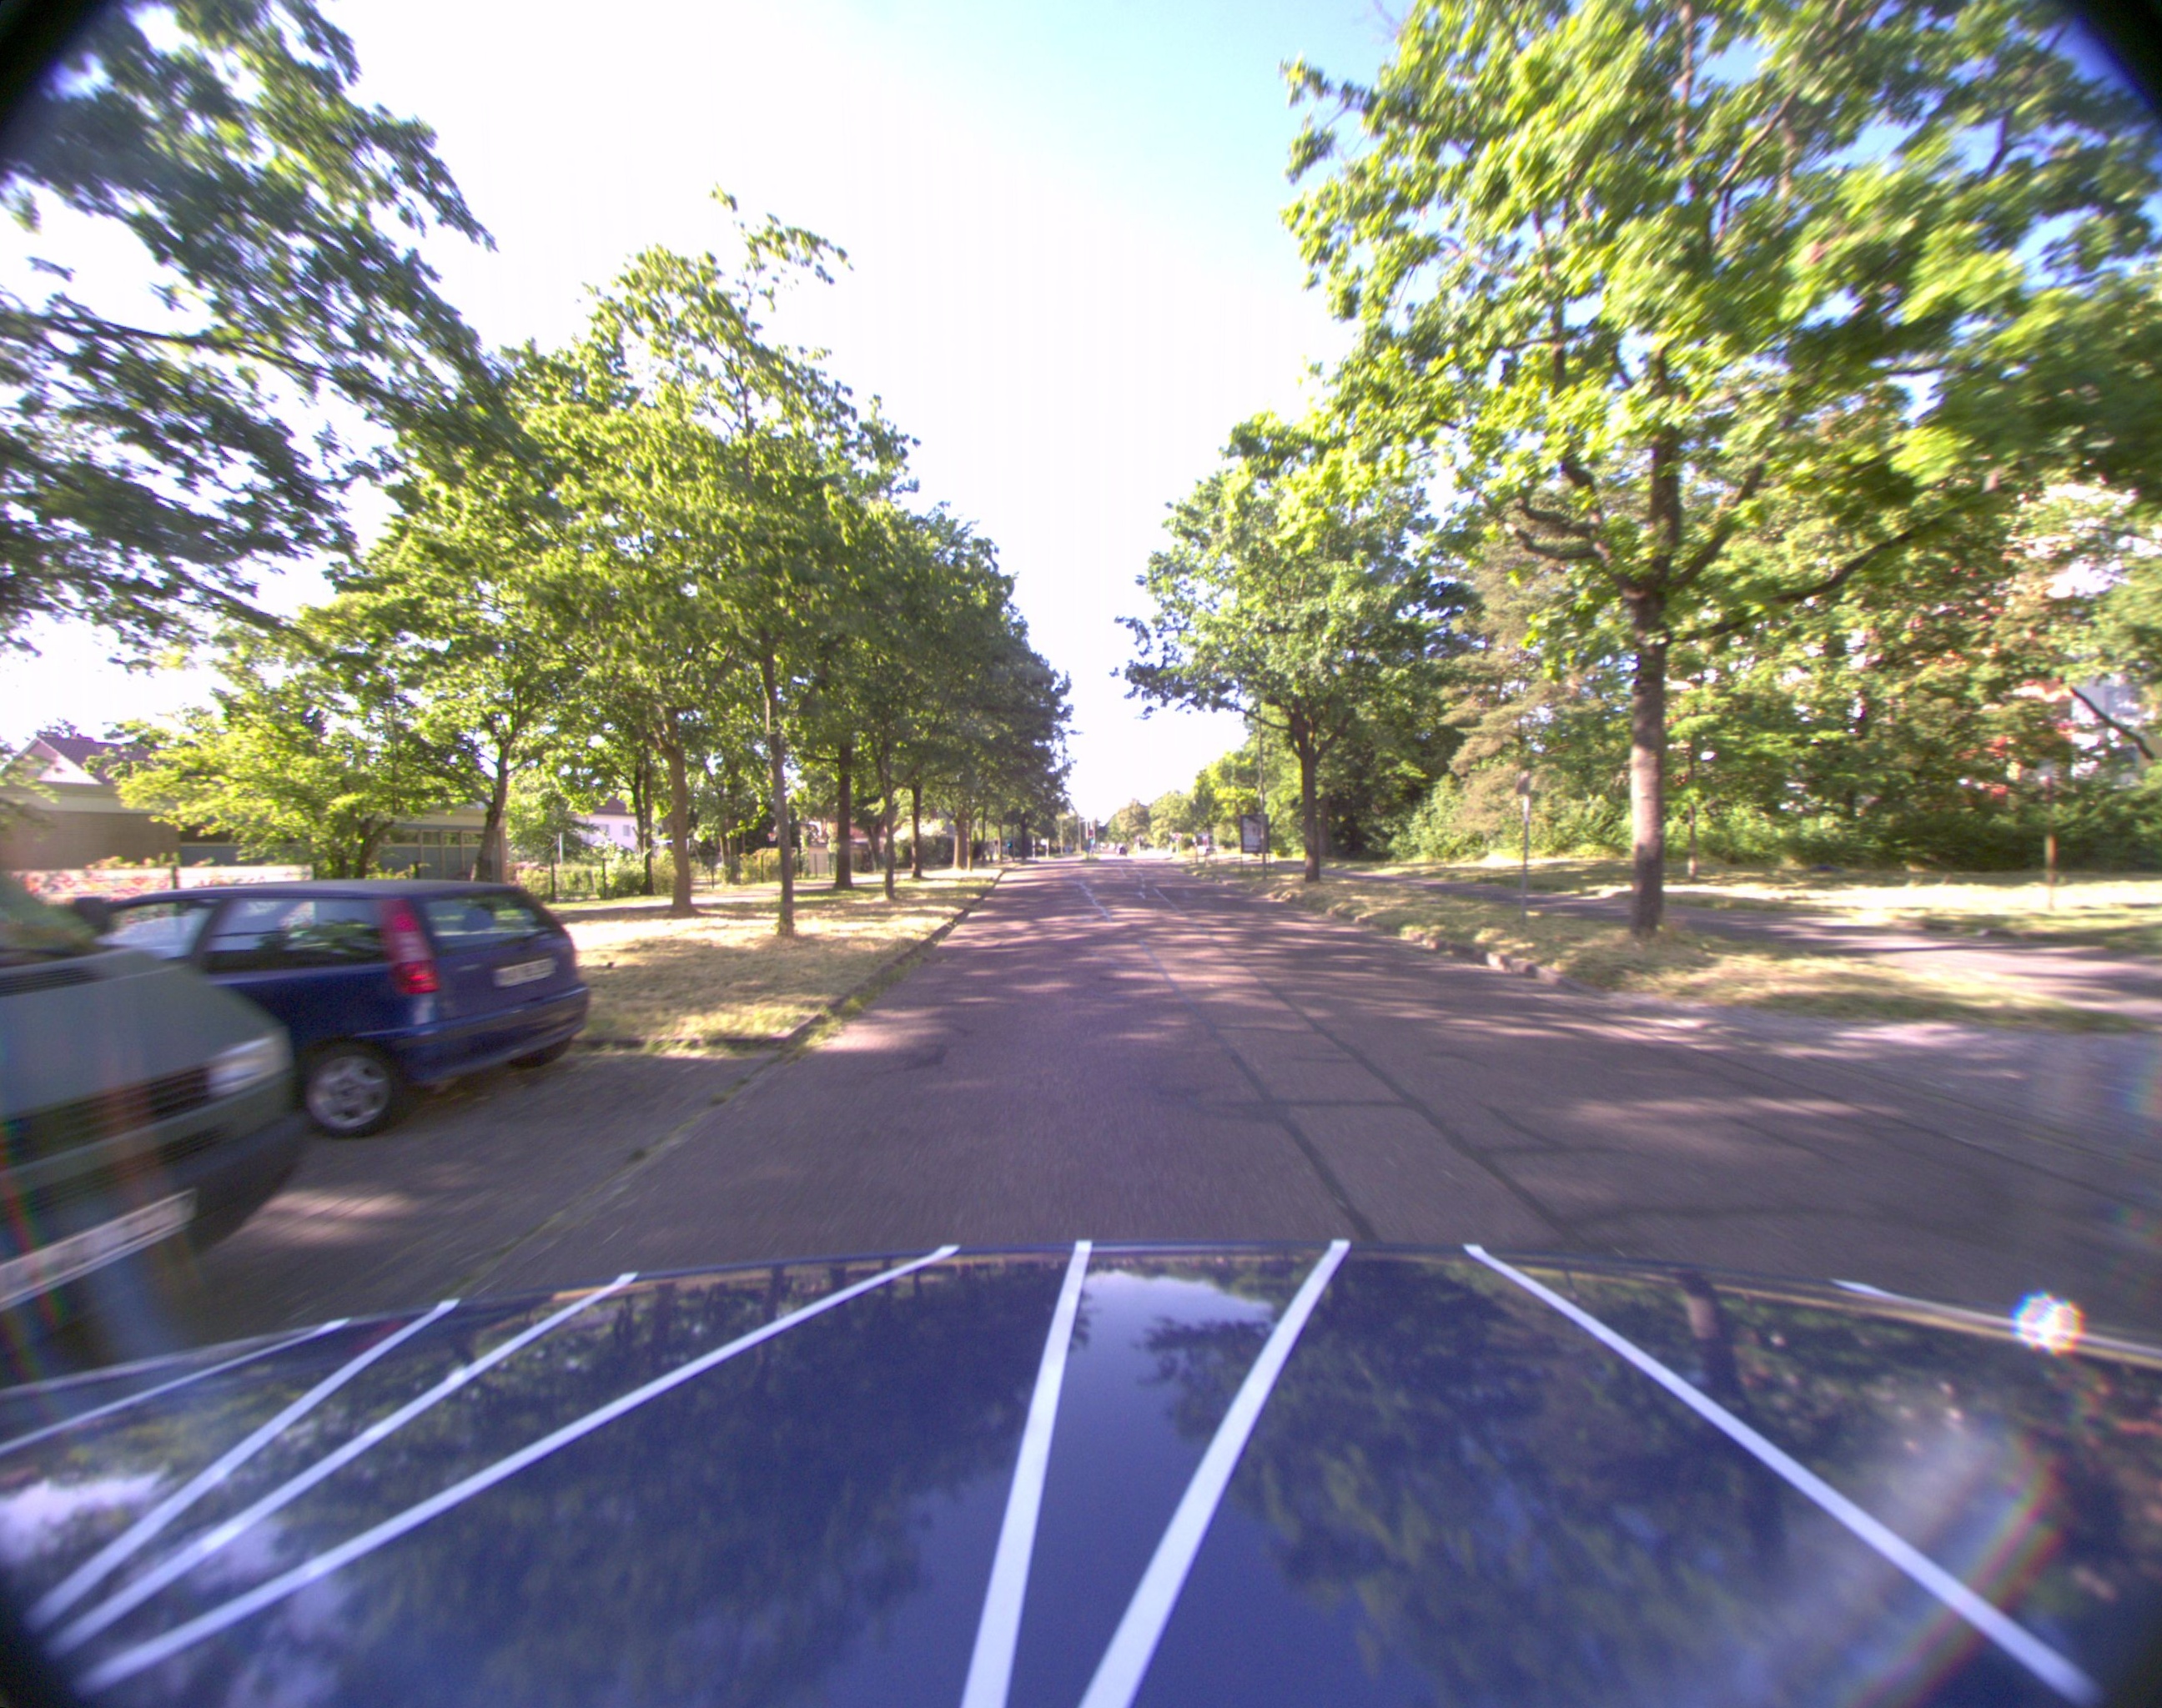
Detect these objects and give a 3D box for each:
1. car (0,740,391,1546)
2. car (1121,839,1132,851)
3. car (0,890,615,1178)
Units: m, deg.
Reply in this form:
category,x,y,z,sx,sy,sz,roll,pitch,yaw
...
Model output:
category,x,y,z,sx,sy,sz,roll,pitch,yaw
car,-5.126,0.751,1.965,4.815,2.020,1.943,-1,1,0
car,8.067,-1.615,135.246,1.904,2.083,3.640,0,1,1
car,-5.556,1.008,4.887,3.998,1.395,1.739,-1,1,0
